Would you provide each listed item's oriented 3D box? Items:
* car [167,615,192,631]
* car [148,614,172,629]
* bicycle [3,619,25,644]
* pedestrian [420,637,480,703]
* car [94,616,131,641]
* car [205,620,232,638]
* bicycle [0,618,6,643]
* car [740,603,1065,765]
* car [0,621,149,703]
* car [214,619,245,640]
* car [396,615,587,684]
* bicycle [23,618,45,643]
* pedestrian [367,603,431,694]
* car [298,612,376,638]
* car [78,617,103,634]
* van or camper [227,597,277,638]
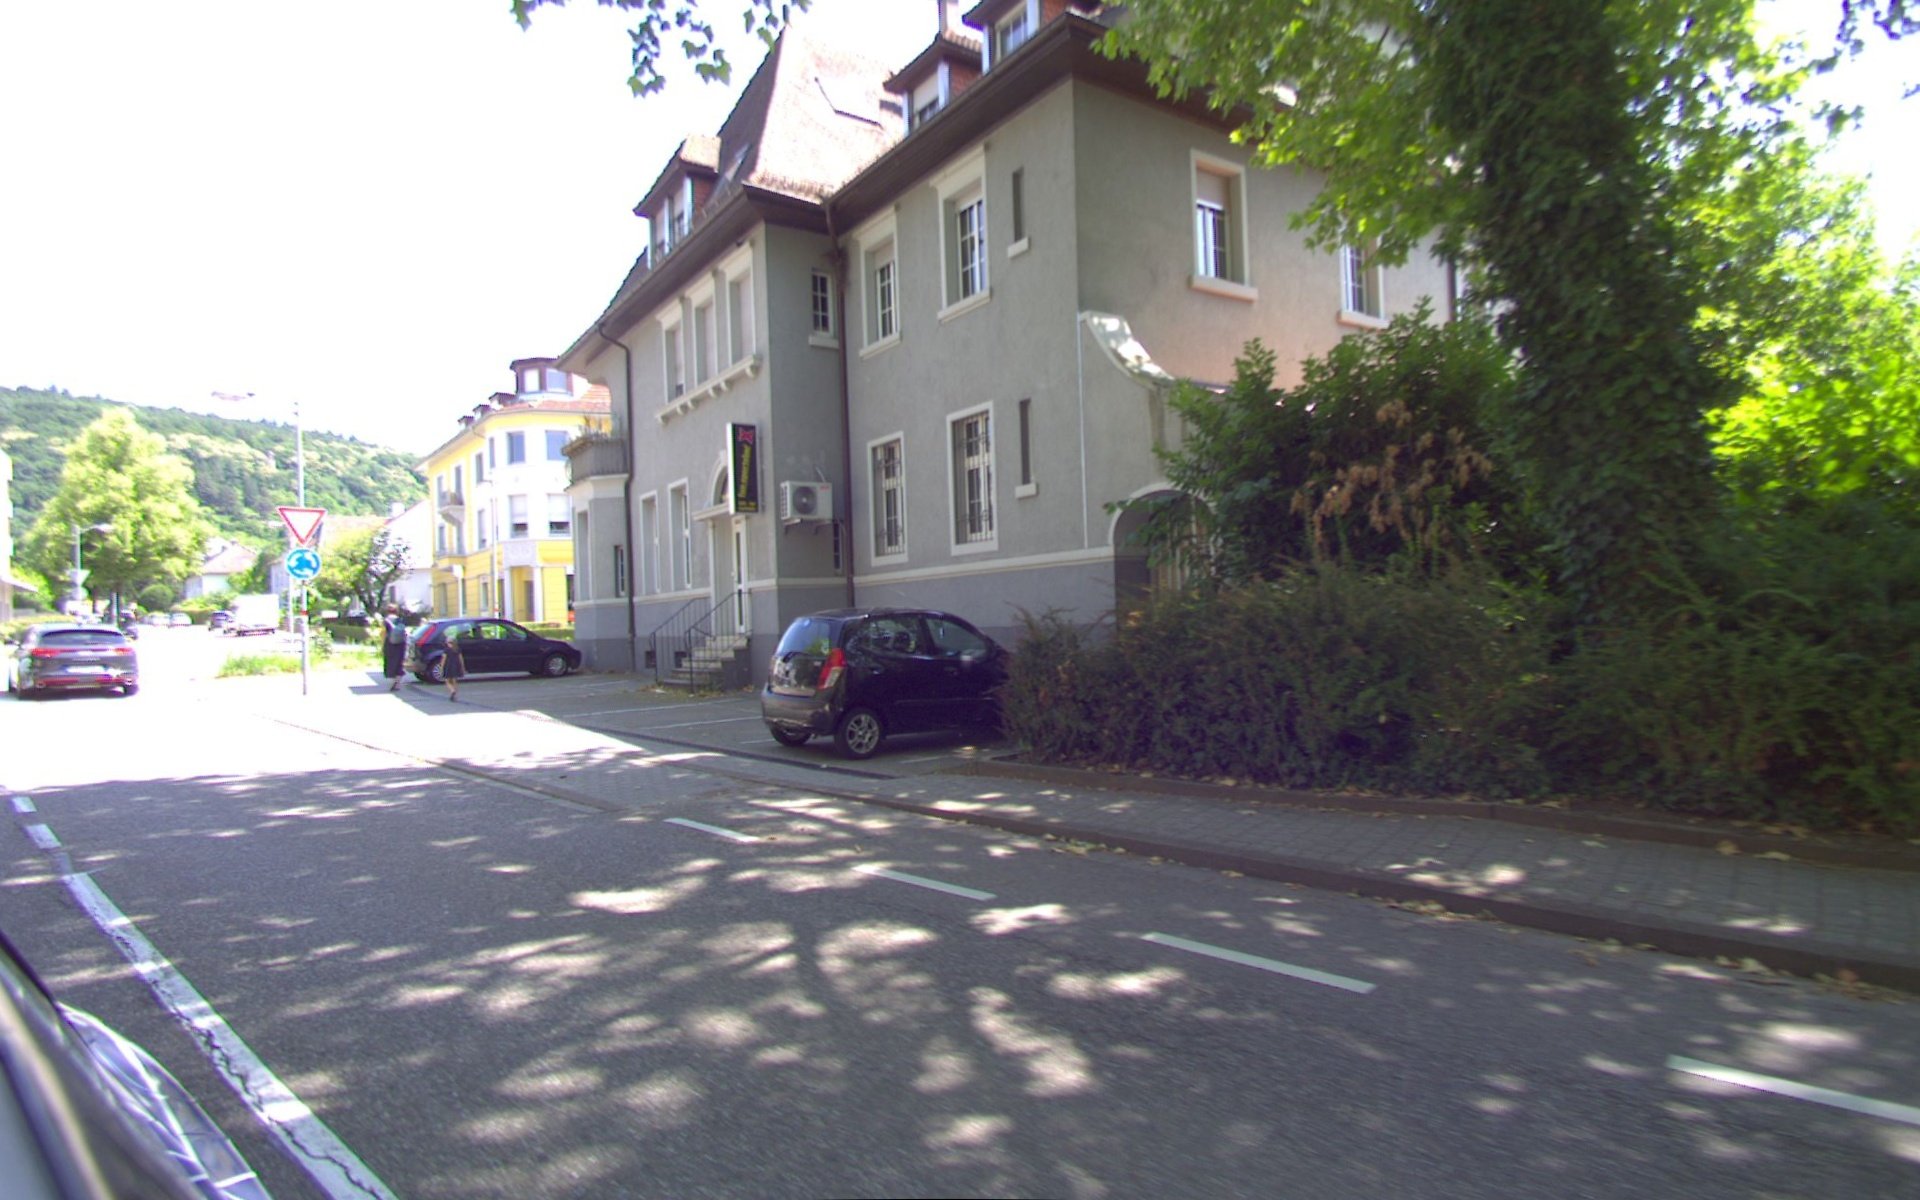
[{"bbox_3d":[-85.727,2.512,111.126,1.969,1.679,4.006,1,-1,-41],"label":"car"},{"bbox_3d":[-94.046,2.529,118.968,1.969,1.679,4.006,1,-1,-41],"label":"car"},{"bbox_3d":[-52.901,1.748,56.600,0.560,1.388,1.753,1,-1,-31],"label":"bicycle"},{"bbox_3d":[-9.148,1.234,18.151,0.745,1.130,0.898,1,-2,-44],"label":"pedestrian"},{"bbox_3d":[-52.250,1.745,62.393,1.729,1.516,3.998,0,-1,-40],"label":"car"},{"bbox_3d":[-65.275,2.570,89.098,1.728,1.516,4.000,0,-1,-39],"label":"car"},{"bbox_3d":[-53.567,1.670,56.121,0.560,1.388,1.753,1,-1,-31],"label":"bicycle"},{"bbox_3d":[-0.592,0.839,11.525,3.339,1.558,1.727,0,-2,-40],"label":"car"},{"bbox_3d":[-17.578,1.137,19.919,4.390,1.437,1.750,-1,-2,41],"label":"car"},{"bbox_3d":[-55.842,2.249,77.312,1.728,1.516,4.000,0,-1,-39],"label":"car"},{"bbox_3d":[-10.893,1.106,23.643,3.733,1.471,1.727,1,-2,-40],"label":"car"},{"bbox_3d":[-52.161,1.737,57.040,0.560,1.388,1.753,1,-1,-31],"label":"bicycle"},{"bbox_3d":[-11.260,0.957,20.306,0.861,1.755,1.113,1,-2,-44],"label":"pedestrian"},{"bbox_3d":[-40.297,1.624,65.533,1.753,1.598,3.943,-2,-1,37],"label":"car"},{"bbox_3d":[-88.881,2.585,103.491,1.739,1.763,4.007,0,-1,-39],"label":"car"},{"bbox_3d":[-49.107,1.232,70.160,2.239,2.658,5.895,-3,1,-40],"label":"van or camper"}]
